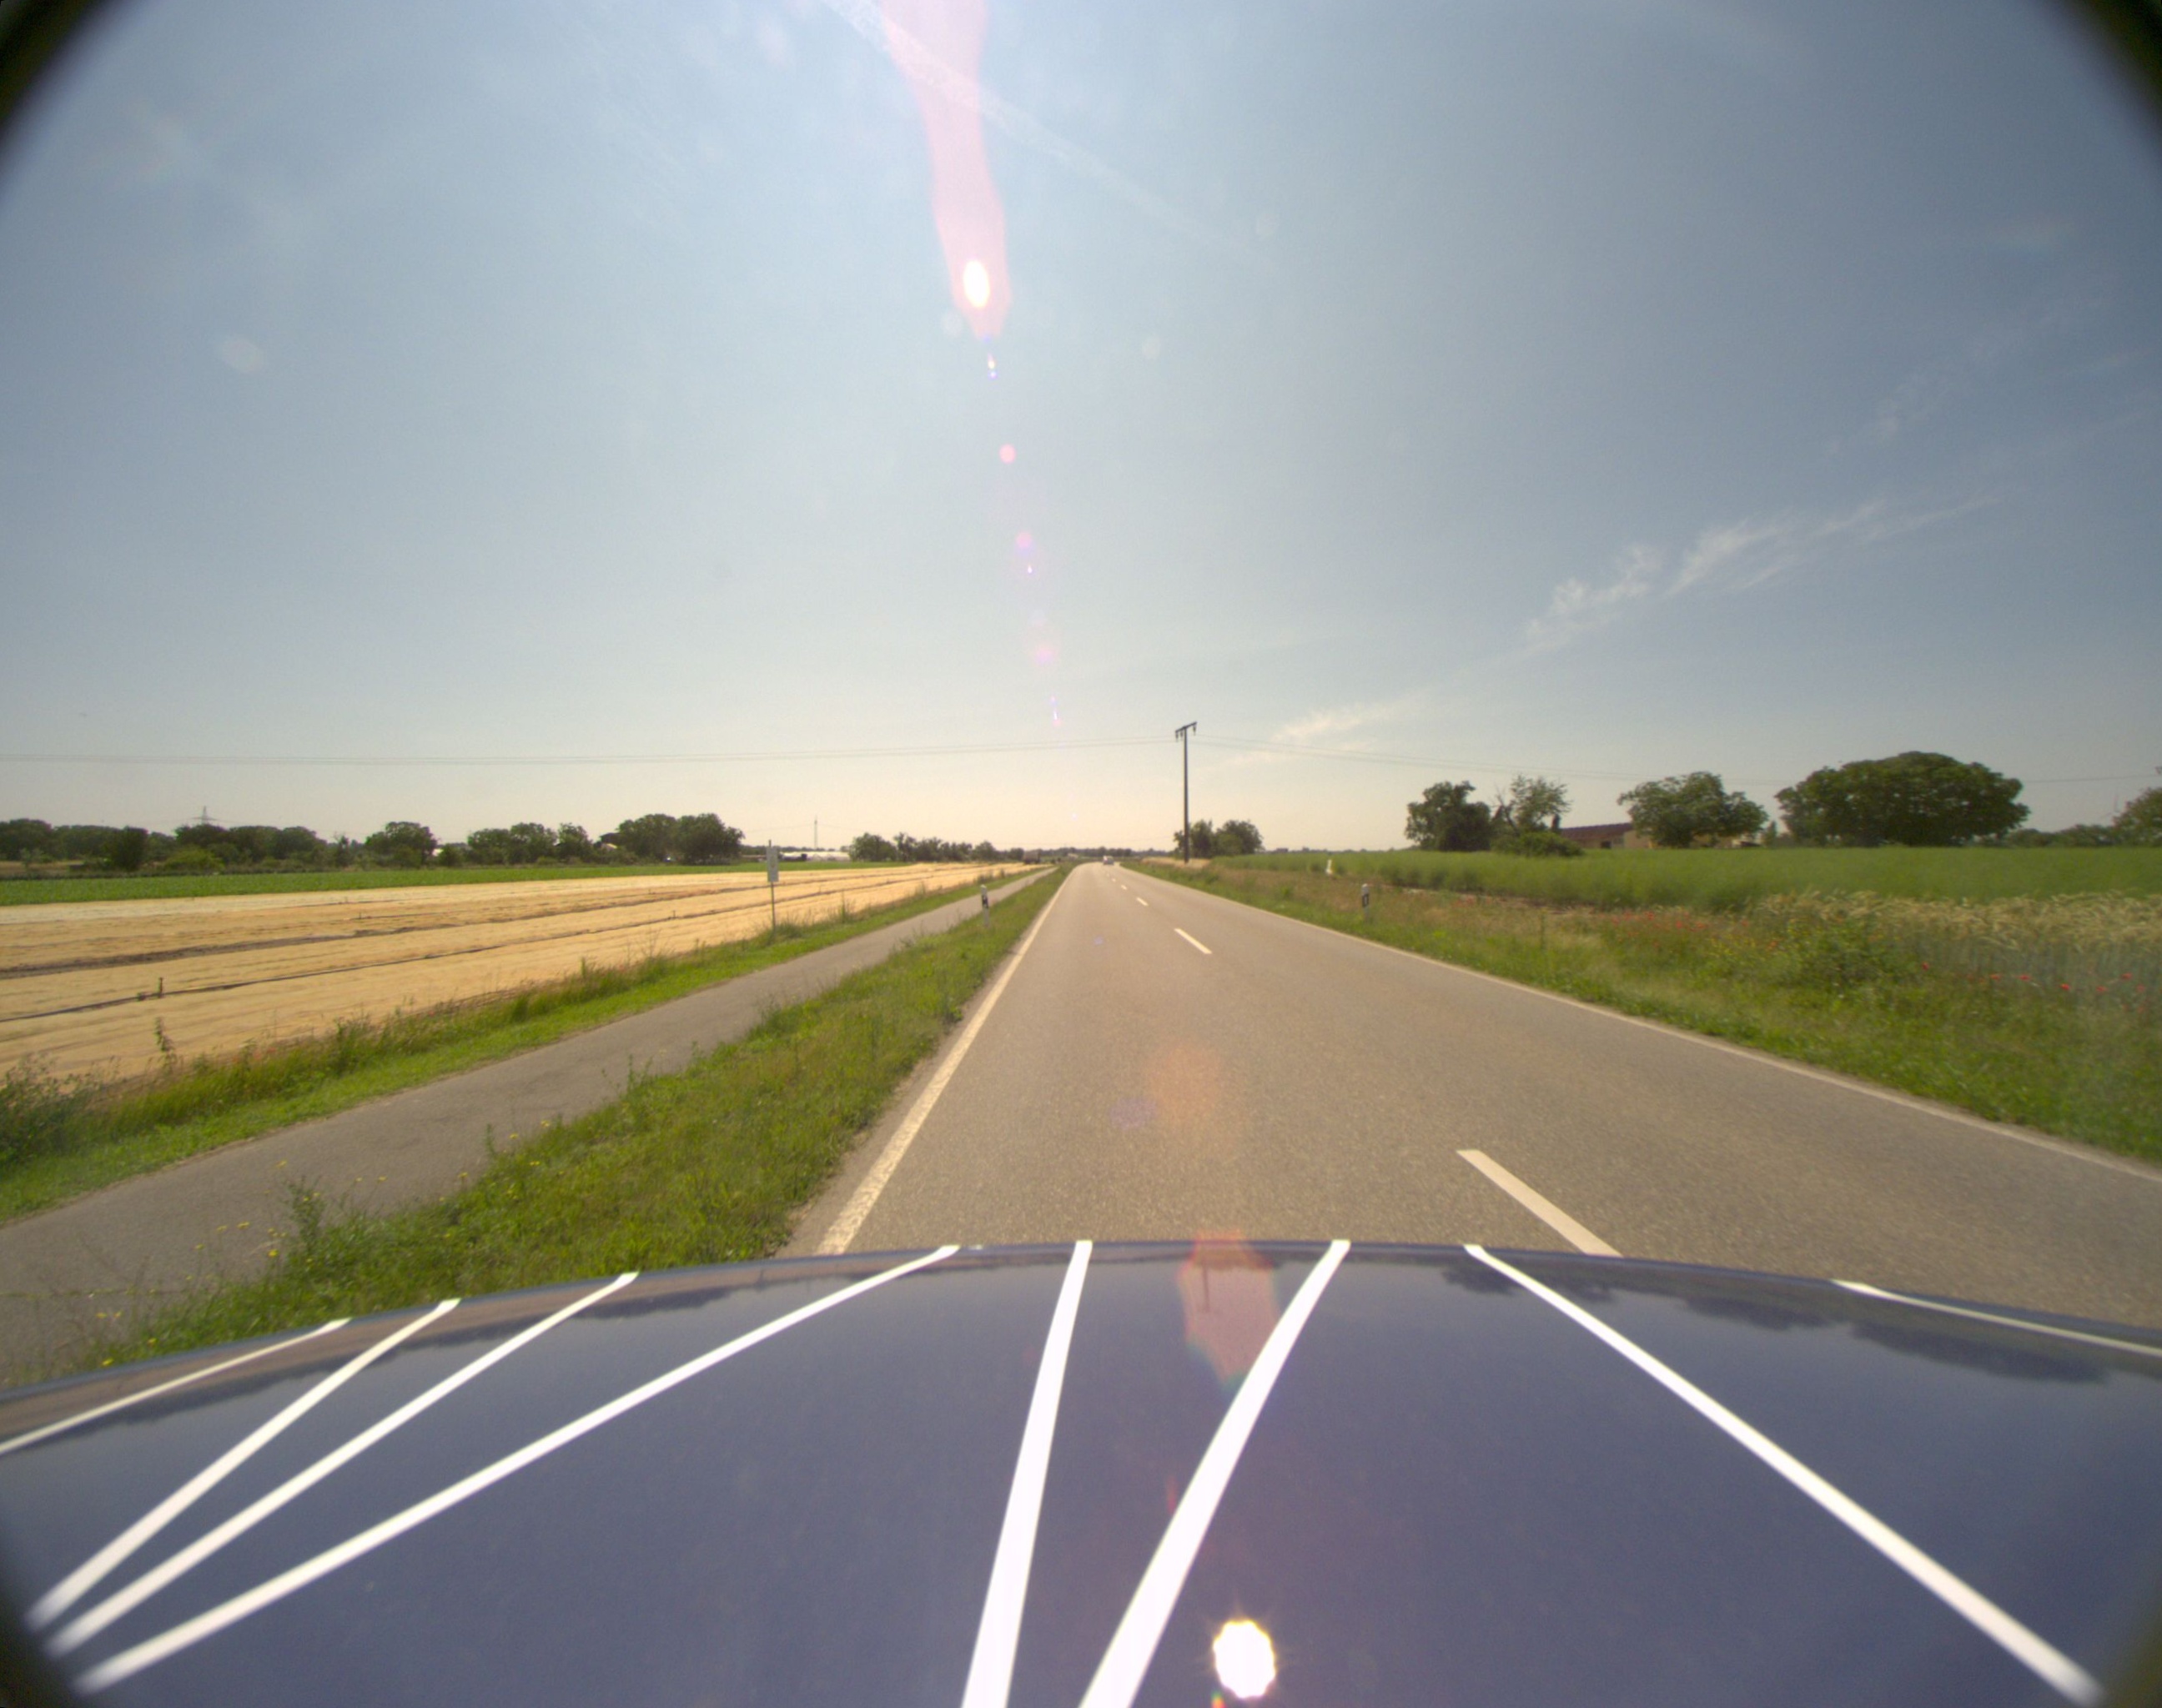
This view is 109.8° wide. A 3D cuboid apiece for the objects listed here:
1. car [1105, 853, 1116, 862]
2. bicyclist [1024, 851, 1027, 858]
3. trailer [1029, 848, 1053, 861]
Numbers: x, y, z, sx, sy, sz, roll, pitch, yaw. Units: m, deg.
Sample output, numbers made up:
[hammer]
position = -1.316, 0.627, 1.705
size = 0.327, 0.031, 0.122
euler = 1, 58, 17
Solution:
[car]
position = 5.044, 0.572, 129.224
size = 1.796, 1.401, 4.185
euler = 1, 0, 0
[bicyclist]
position = -13.705, 0.114, 187.333
size = 0.700, 1.747, 0.663
euler = -1, 1, 19
[trailer]
position = -9.318, 0.035, 176.646
size = 5.283, 2.936, 2.002
euler = 1, 2, 20
